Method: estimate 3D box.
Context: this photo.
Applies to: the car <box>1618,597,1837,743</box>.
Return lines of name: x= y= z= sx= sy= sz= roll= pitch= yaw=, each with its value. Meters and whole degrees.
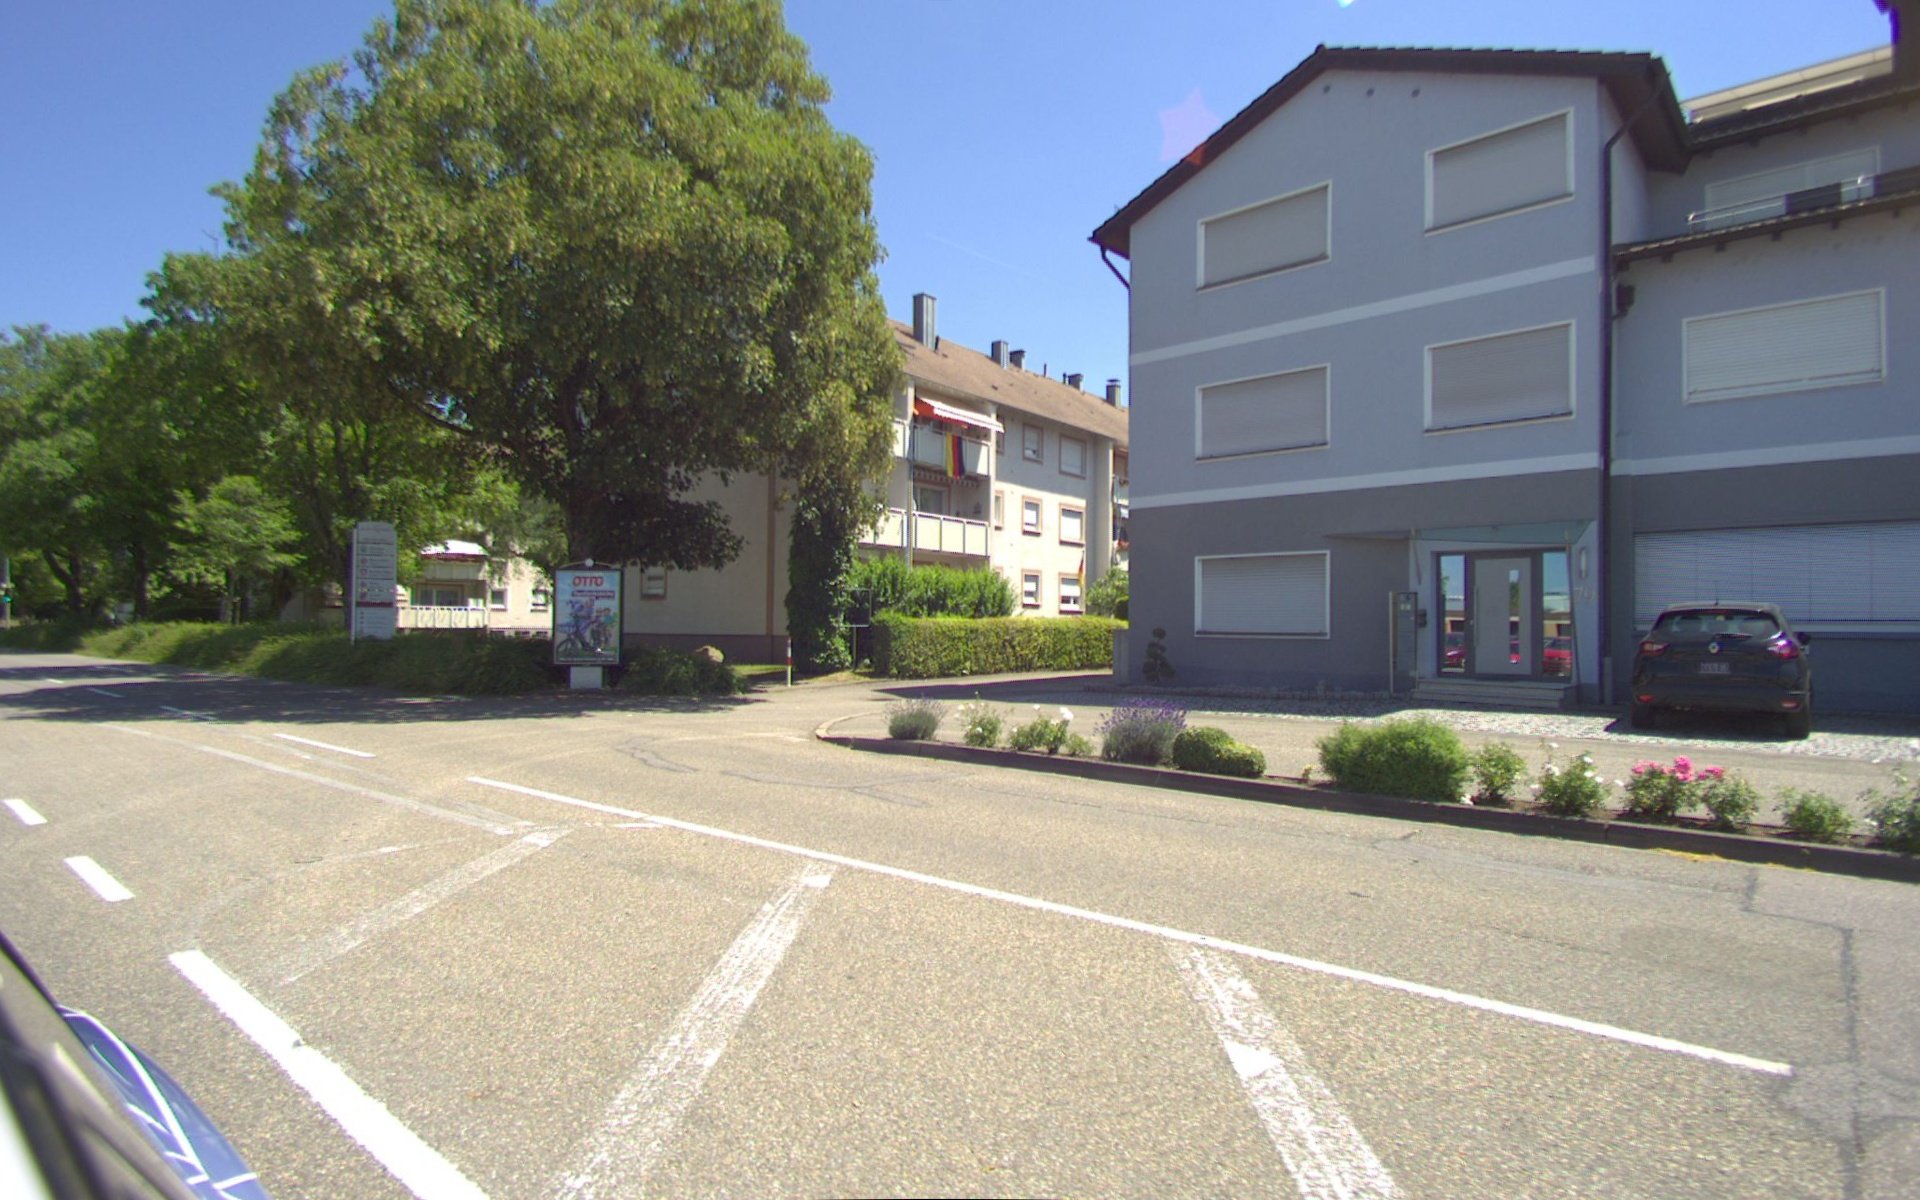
car: x=9.824 y=0.796 z=12.901 sx=1.968 sy=1.577 sz=3.523 roll=-1 pitch=-2 yaw=40
